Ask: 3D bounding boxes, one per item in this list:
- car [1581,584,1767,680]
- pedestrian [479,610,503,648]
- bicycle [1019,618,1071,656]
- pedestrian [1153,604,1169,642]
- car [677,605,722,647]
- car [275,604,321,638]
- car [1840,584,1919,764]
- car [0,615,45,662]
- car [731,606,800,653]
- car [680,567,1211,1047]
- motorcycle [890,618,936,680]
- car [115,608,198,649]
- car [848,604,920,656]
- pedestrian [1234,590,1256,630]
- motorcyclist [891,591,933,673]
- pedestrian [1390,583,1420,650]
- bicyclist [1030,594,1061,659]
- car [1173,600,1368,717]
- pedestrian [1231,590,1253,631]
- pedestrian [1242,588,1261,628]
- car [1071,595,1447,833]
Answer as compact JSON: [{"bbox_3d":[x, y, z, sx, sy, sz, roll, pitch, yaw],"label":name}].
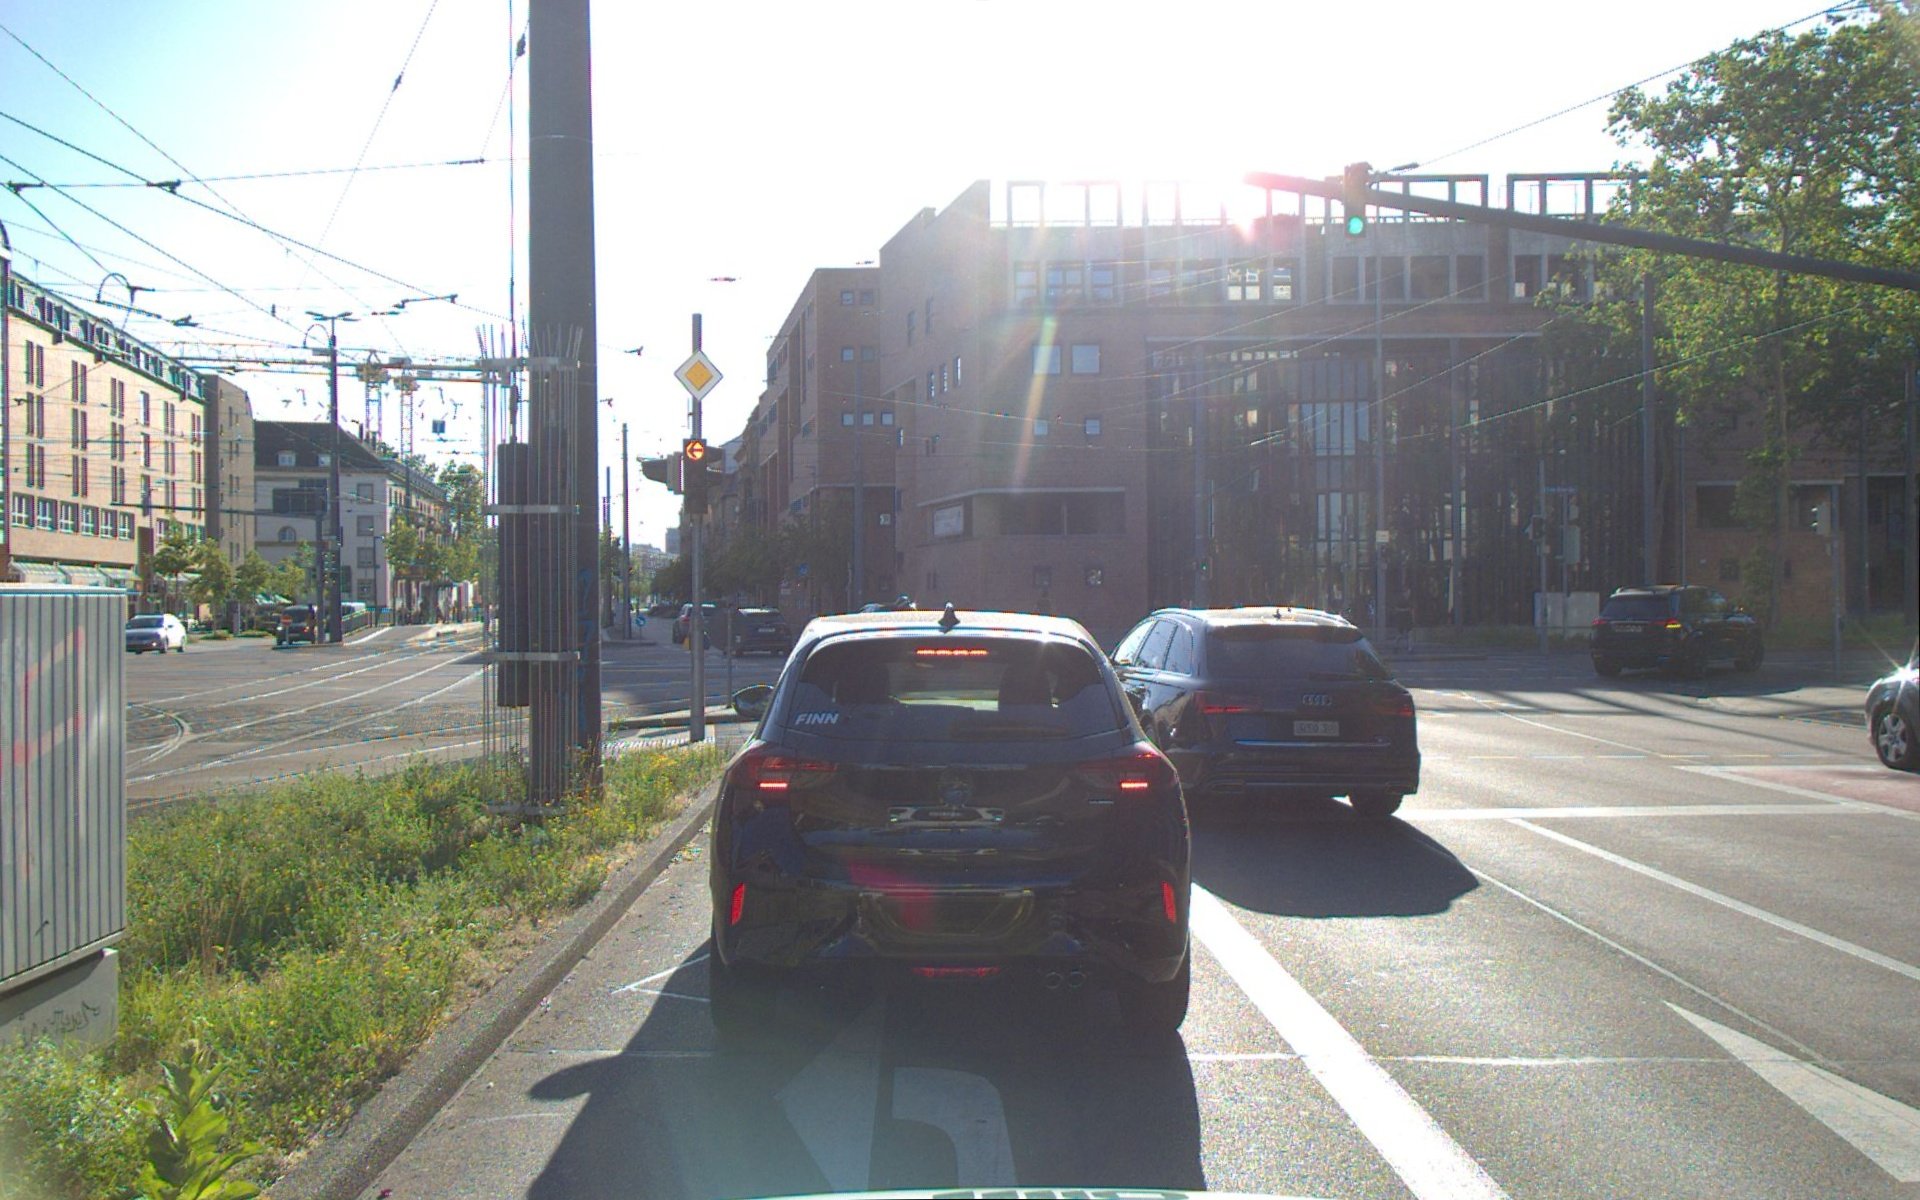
[{"bbox_3d":[14.406,0.589,33.275,4.296,1.780,1.968,-1,0,-44],"label":"car"},{"bbox_3d":[-21.198,1.307,74.781,0.730,1.669,0.764,-1,0,40],"label":"pedestrian"},{"bbox_3d":[2.389,1.037,46.865,0.485,1.015,2.311,-1,0,-23],"label":"bicycle"},{"bbox_3d":[7.812,0.902,64.184,0.519,1.455,0.598,-1,0,-1],"label":"pedestrian"},{"bbox_3d":[-11.085,1.079,70.138,1.706,1.680,3.988,0,0,-12],"label":"car"},{"bbox_3d":[-31.211,0.972,78.013,1.717,1.531,3.861,-1,0,-18],"label":"car"},{"bbox_3d":[9.689,0.676,14.331,1.654,1.657,4.461,0,0,-2],"label":"car"},{"bbox_3d":[-31.302,1.283,53.234,1.689,1.447,4.139,-3,0,-6],"label":"car"},{"bbox_3d":[-5.995,0.869,50.654,1.707,1.373,3.988,0,0,-12],"label":"car"},{"bbox_3d":[-0.029,0.633,7.069,1.615,1.458,4.000,0,0,0],"label":"car"},{"bbox_3d":[-0.896,0.928,32.105,0.759,1.135,1.970,-1,0,2],"label":"motorcycle"},{"bbox_3d":[-30.939,1.078,63.776,1.542,1.474,3.996,-1,0,-5],"label":"car"},{"bbox_3d":[-2.338,0.889,50.126,1.774,1.483,3.992,1,0,-9],"label":"car"},{"bbox_3d":[11.803,0.427,68.491,0.881,1.645,0.561,-1,0,8],"label":"pedestrian"},{"bbox_3d":[-0.922,0.609,31.986,0.729,1.557,1.021,-1,0,2],"label":"motorcyclist"},{"bbox_3d":[12.067,0.447,44.841,0.692,1.789,0.560,-1,0,25],"label":"pedestrian"},{"bbox_3d":[2.420,0.733,46.734,0.569,1.822,0.858,-1,0,-22],"label":"bicyclist"},{"bbox_3d":[4.273,0.757,23.355,1.771,1.483,3.997,1,0,-4],"label":"car"},{"bbox_3d":[11.545,0.424,67.753,0.881,1.645,0.561,-1,0,8],"label":"pedestrian"},{"bbox_3d":[12.176,0.347,69.150,0.722,1.645,0.561,-1,0,8],"label":"pedestrian"},{"bbox_3d":[2.102,0.739,12.986,1.776,1.518,4.491,-1,0,-5],"label":"car"}]
